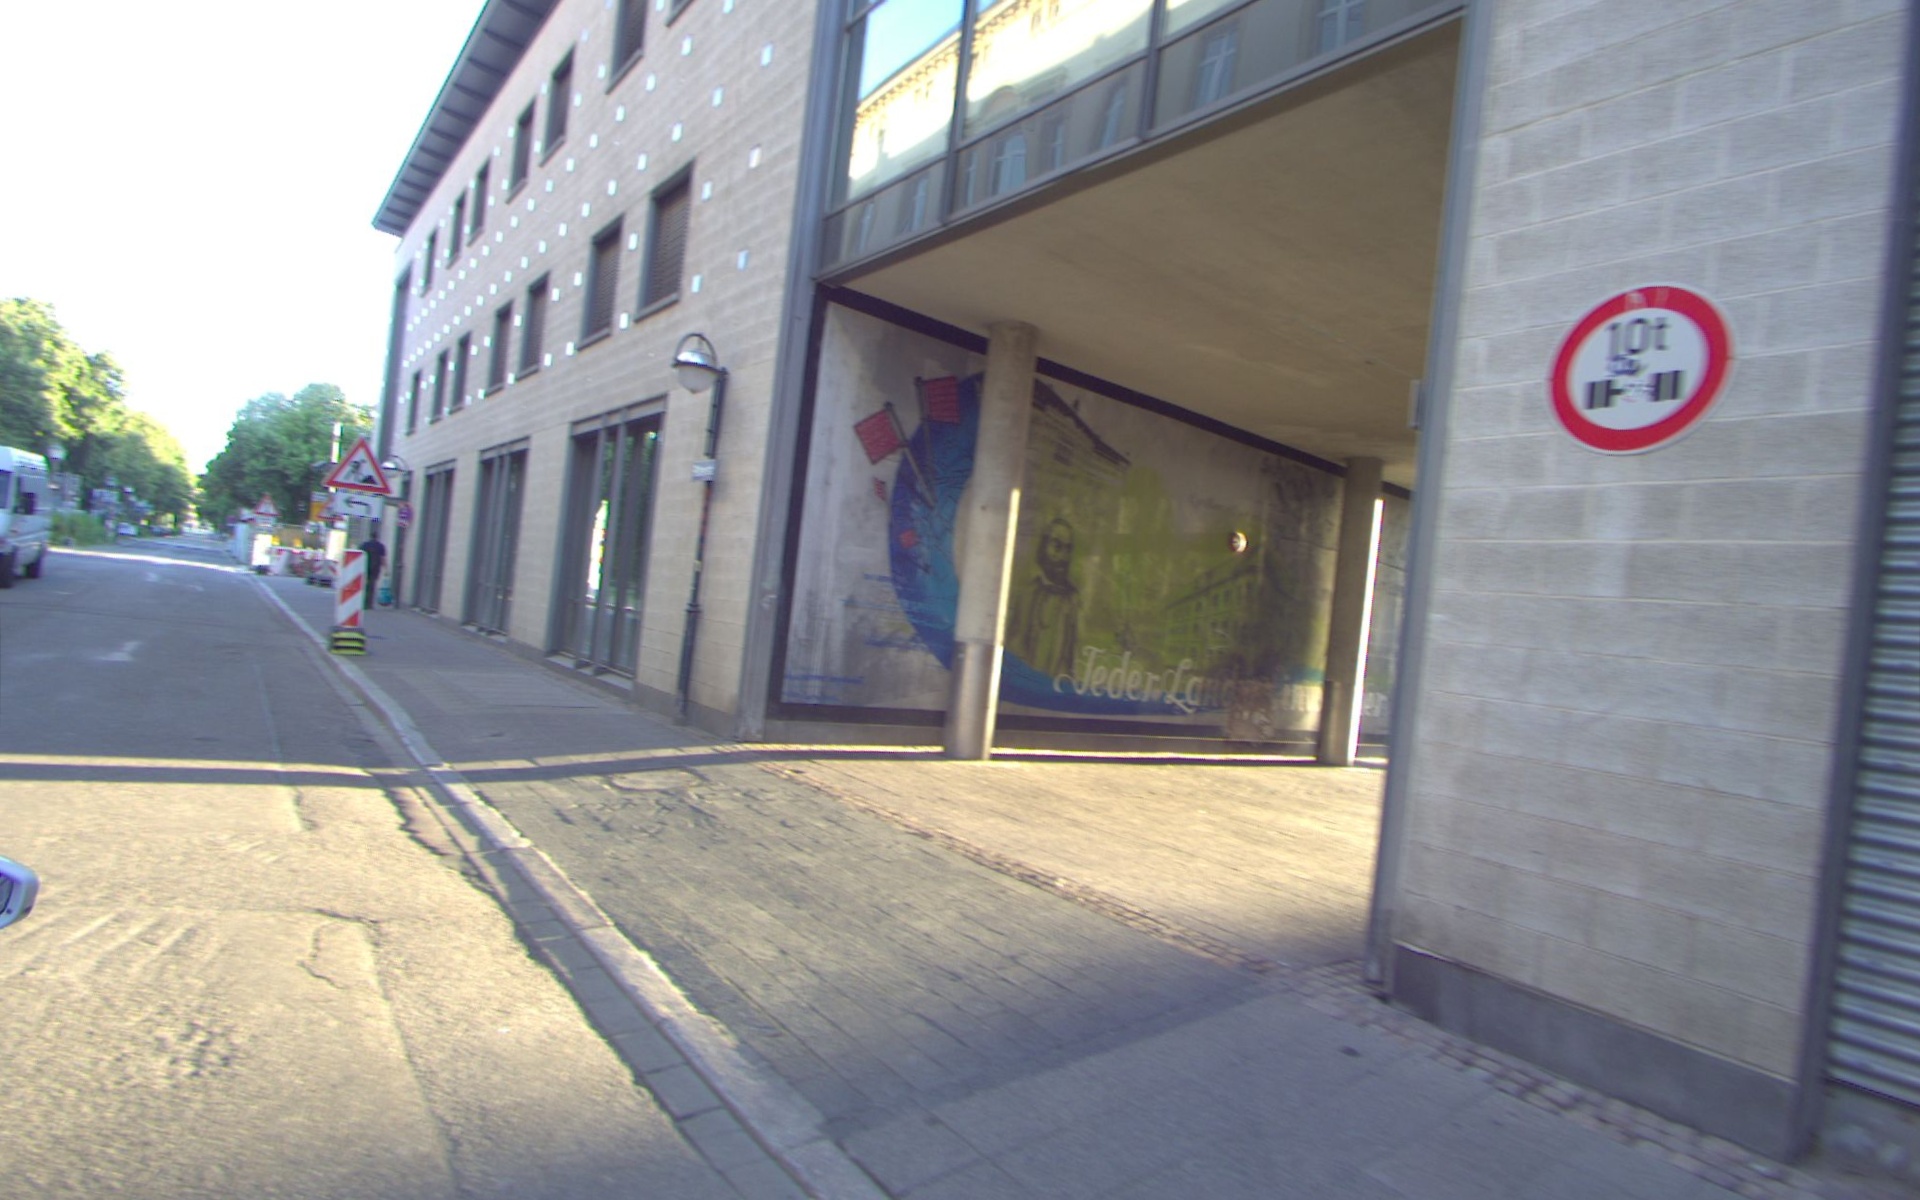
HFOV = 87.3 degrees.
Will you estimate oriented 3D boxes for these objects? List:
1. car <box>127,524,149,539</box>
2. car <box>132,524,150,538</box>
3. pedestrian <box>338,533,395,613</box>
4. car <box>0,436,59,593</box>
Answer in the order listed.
[{"bbox_3d":[-84.853,-7.062,103.869,1.461,1.271,3.641,8,-2,-38],"label":"car"},{"bbox_3d":[-100.385,-8.465,123.304,1.461,1.421,3.641,8,-2,-38],"label":"car"},{"bbox_3d":[-13.653,-0.620,23.137,0.918,1.723,0.859,6,0,-38],"label":"pedestrian"},{"bbox_3d":[-18.260,-1.616,18.431,1.983,2.546,6.405,3,2,-37],"label":"car"}]
